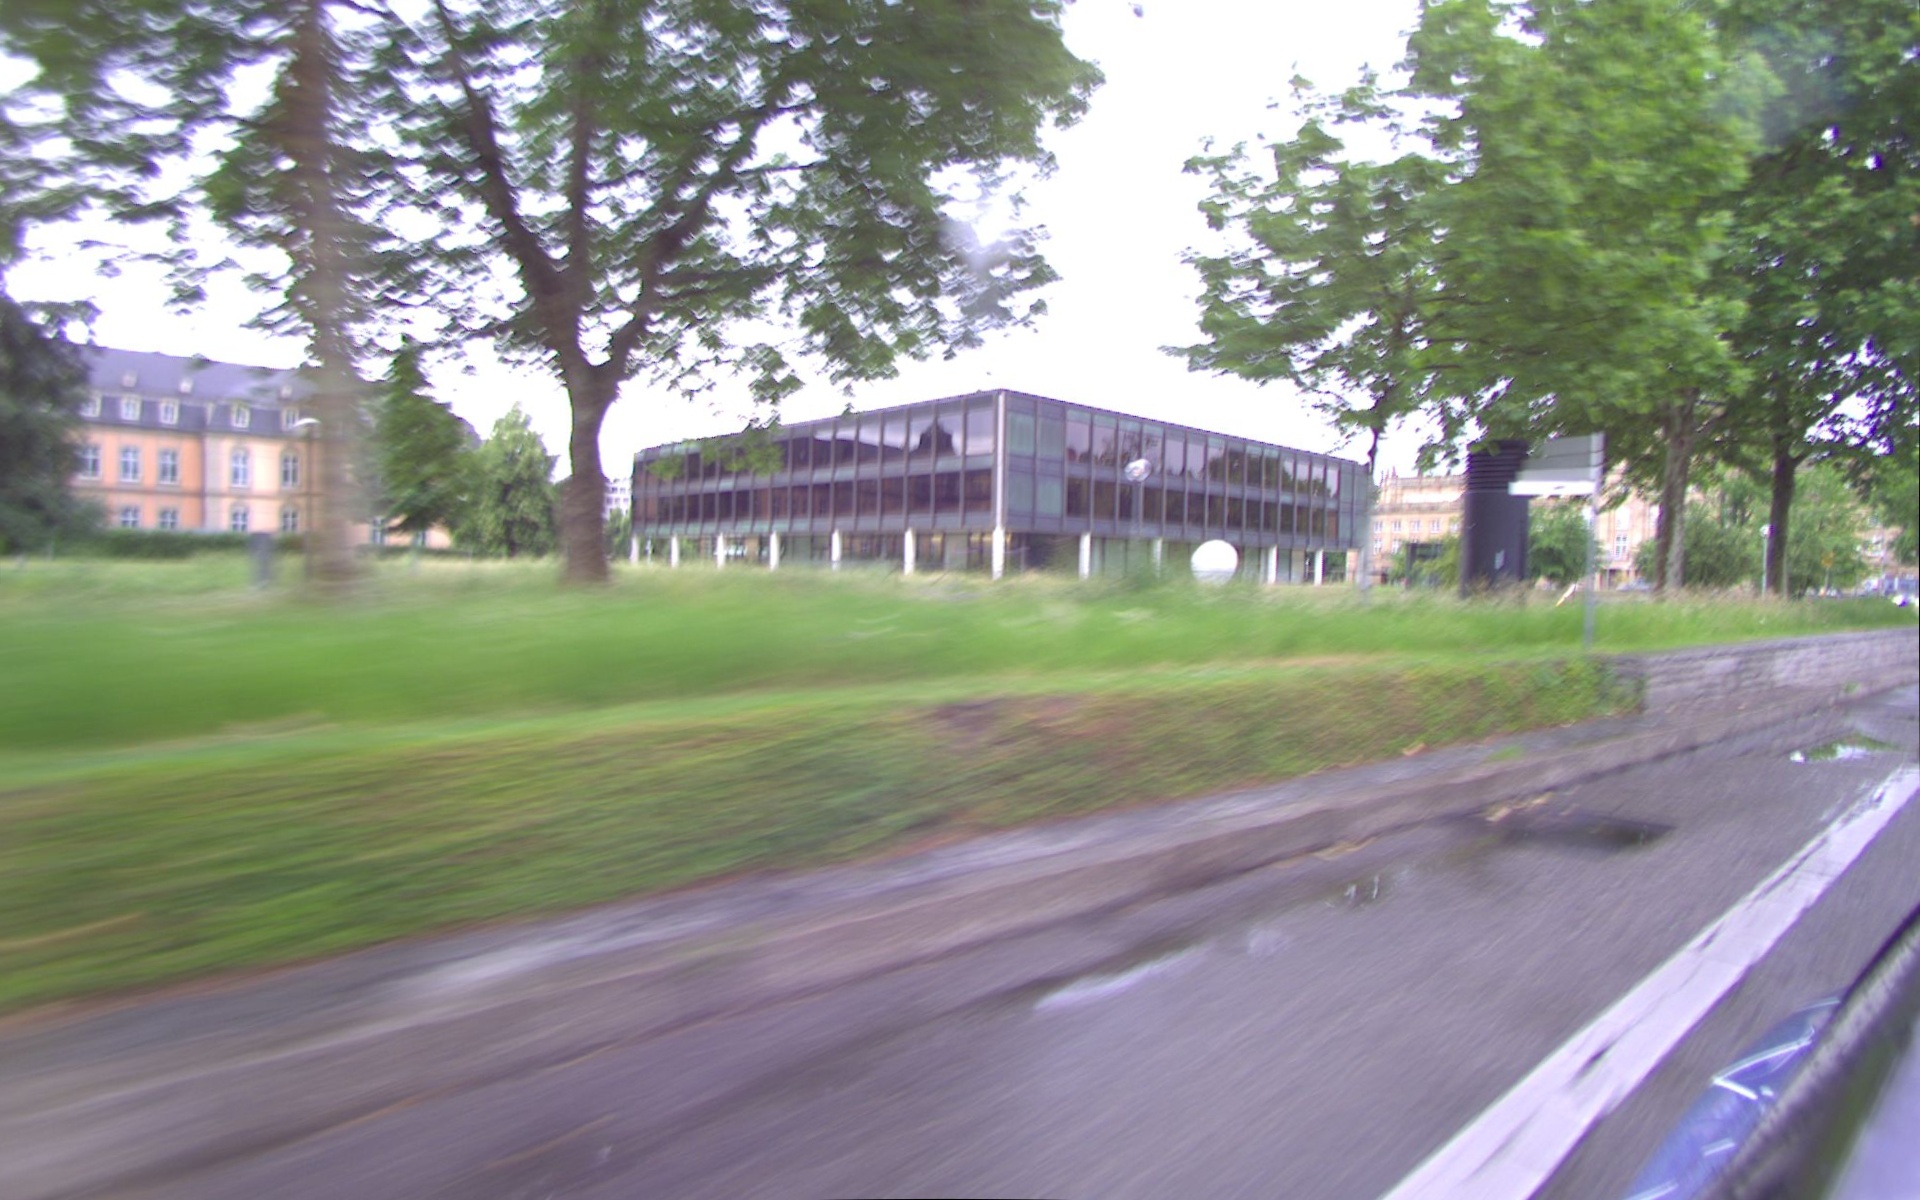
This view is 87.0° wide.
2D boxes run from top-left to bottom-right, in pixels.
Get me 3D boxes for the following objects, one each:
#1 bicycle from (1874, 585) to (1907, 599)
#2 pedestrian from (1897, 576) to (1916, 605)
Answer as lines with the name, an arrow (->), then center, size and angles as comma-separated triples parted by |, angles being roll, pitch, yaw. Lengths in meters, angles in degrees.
bicycle -> 71.464, -0.622, 77.753 | 1.741, 1.079, 0.820 | 0, 1, 30
pedestrian -> 56.023, -0.552, 59.929 | 0.666, 1.685, 0.582 | 2, 2, 33
